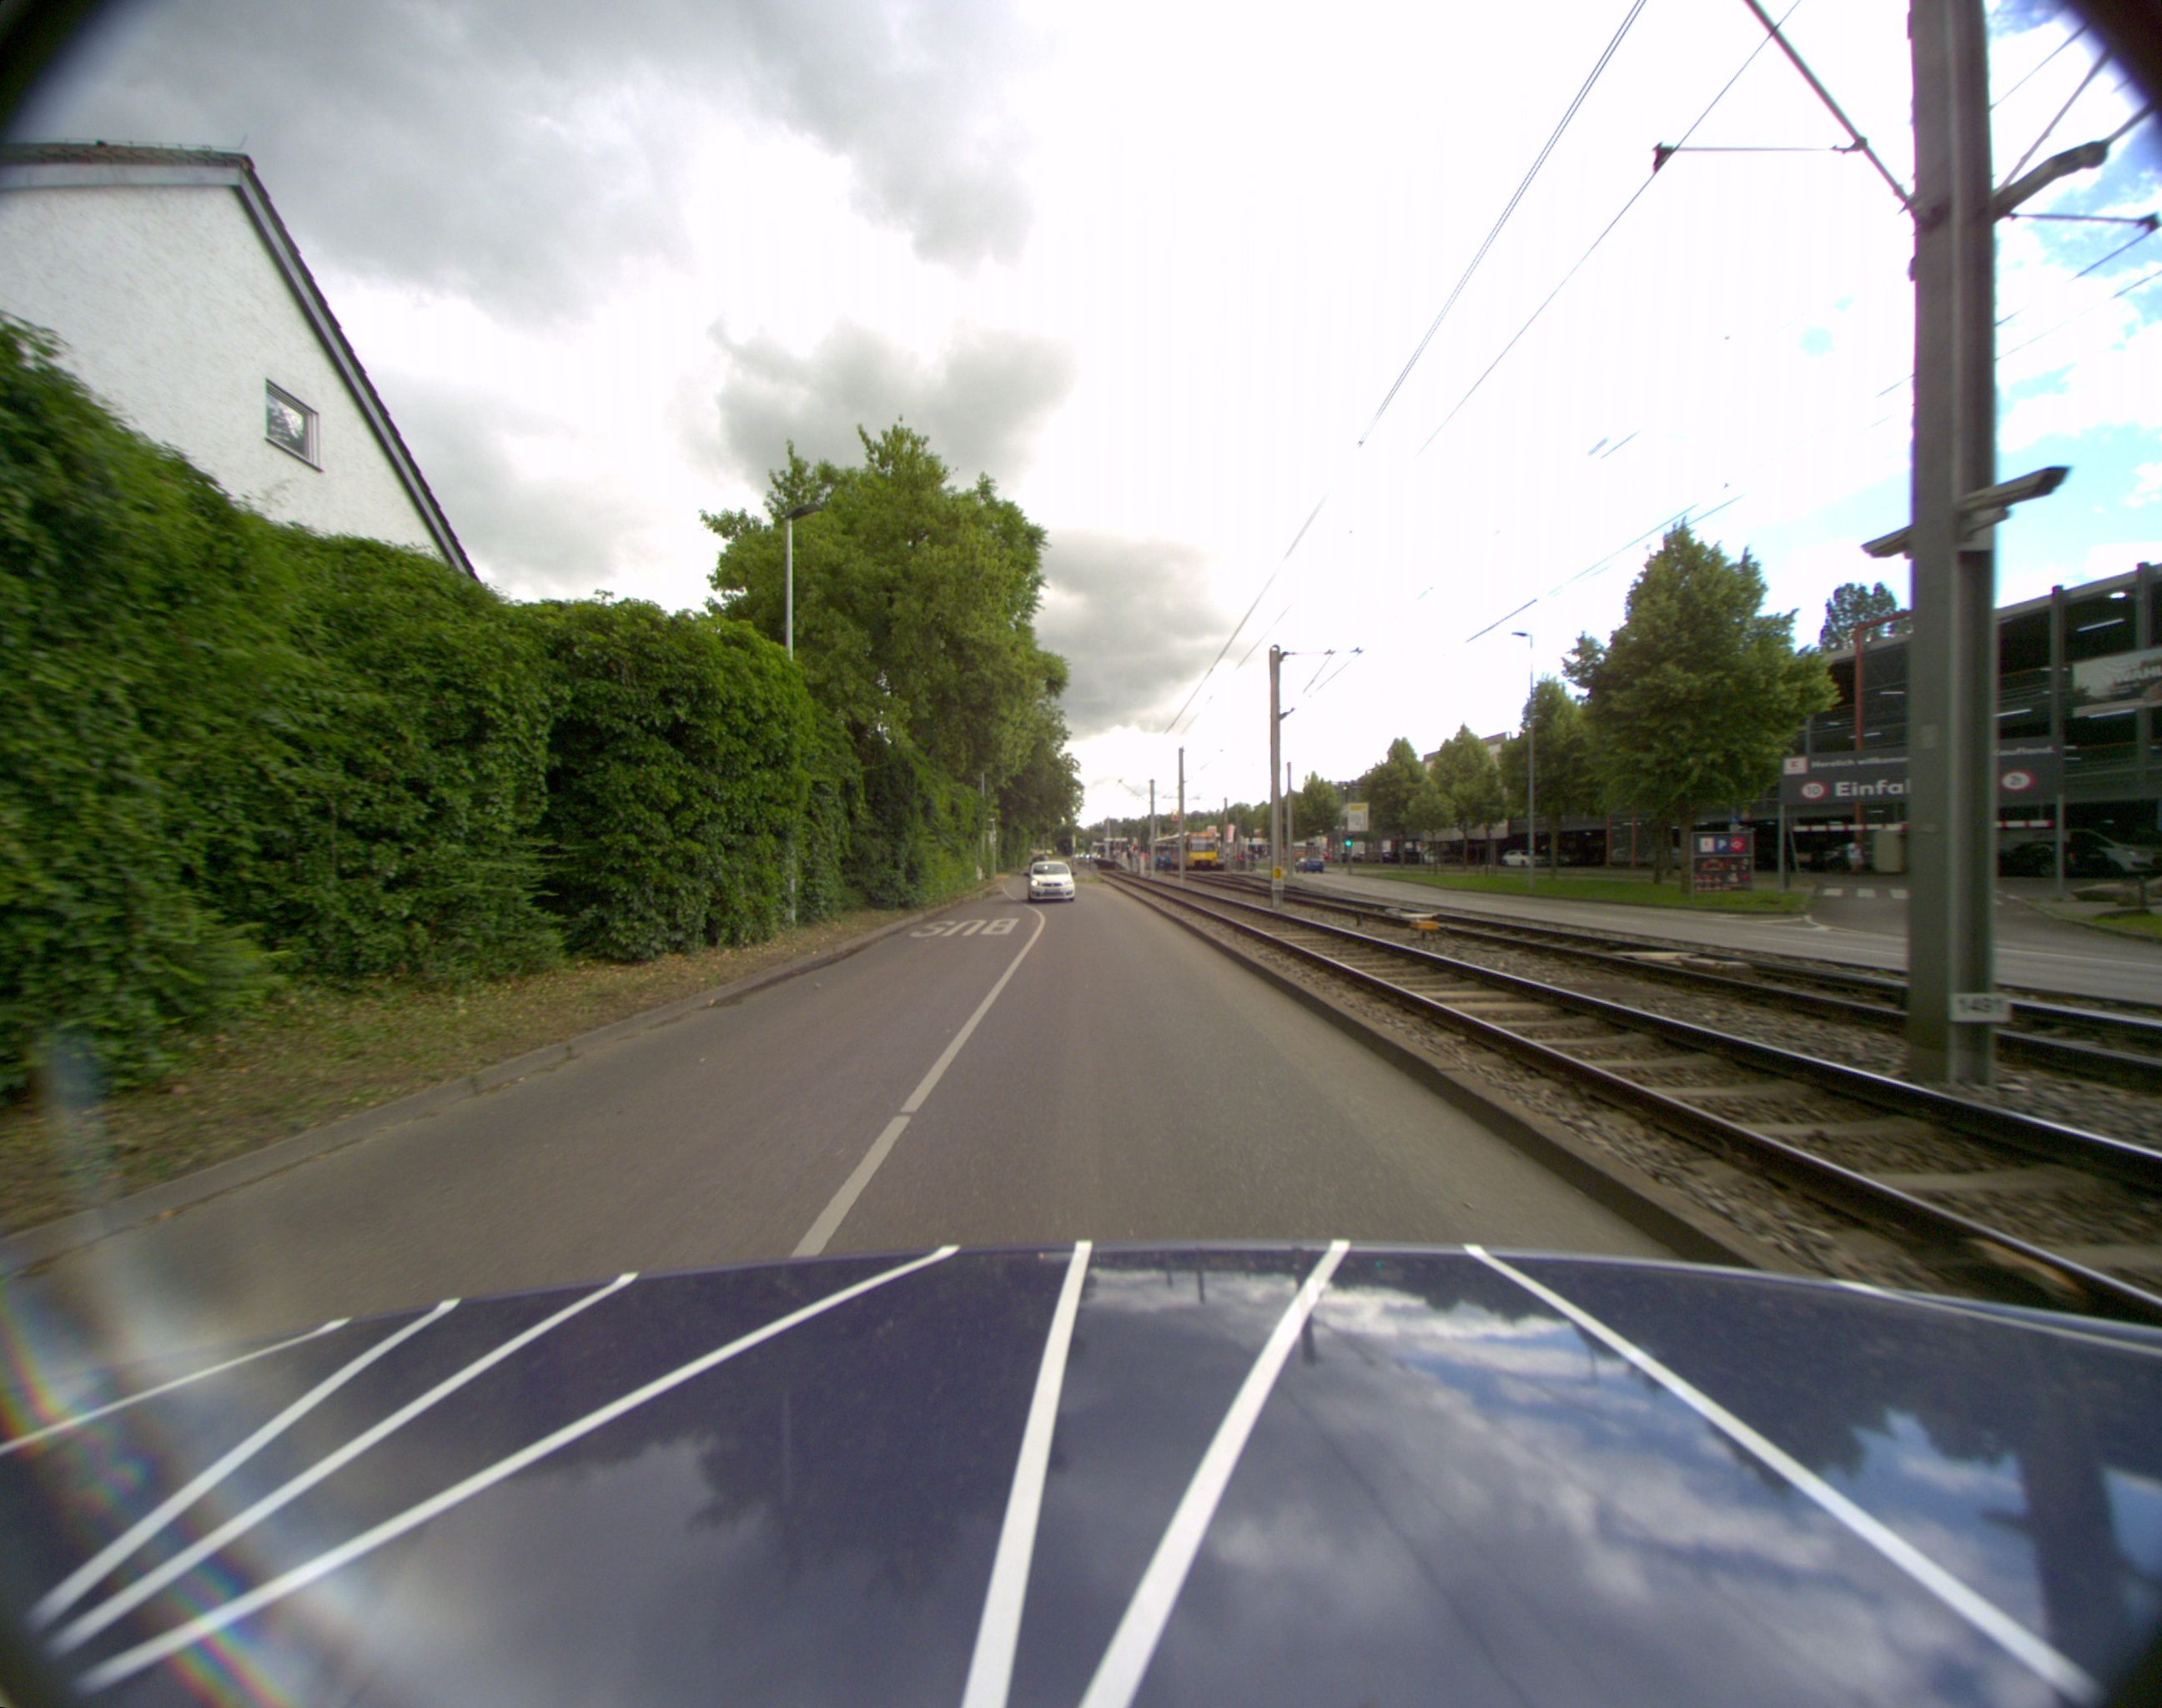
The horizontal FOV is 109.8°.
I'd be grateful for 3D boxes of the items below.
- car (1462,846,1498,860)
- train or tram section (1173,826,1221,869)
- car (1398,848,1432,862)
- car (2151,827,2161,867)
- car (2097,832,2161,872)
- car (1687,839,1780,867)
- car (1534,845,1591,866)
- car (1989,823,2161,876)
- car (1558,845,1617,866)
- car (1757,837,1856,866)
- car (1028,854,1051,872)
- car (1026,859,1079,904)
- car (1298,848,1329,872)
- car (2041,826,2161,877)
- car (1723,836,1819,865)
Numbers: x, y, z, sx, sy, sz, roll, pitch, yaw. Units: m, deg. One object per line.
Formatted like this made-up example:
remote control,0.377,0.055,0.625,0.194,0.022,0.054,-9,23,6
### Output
car,48.016,-0.128,91.538,1.999,1.618,4.405,-1,0,-1
train or tram section,11.169,-0.596,74.671,2.778,3.753,13.787,-1,0,1
car,40.072,0.077,91.244,1.999,1.618,4.405,-1,0,-1
car,47.962,-0.319,31.137,1.999,1.708,4.405,-1,0,-1
car,45.480,-0.108,31.052,1.999,1.640,4.405,-1,0,-1
car,40.500,-0.049,47.330,1.999,1.618,4.405,-1,0,-1
car,40.536,0.139,64.071,1.999,1.689,4.405,-1,0,-1
car,40.561,-0.181,30.887,1.999,2.002,4.405,-1,0,-1
car,42.597,0.109,64.034,1.999,1.689,4.405,-1,0,-1
car,45.548,-0.173,47.836,1.999,1.689,4.405,-1,0,-1
car,-3.908,0.806,71.948,1.714,1.586,4.001,-1,0,3
car,-1.075,0.974,28.598,1.765,1.469,4.030,-2,0,-2
car,20.355,0.511,66.534,1.997,2.002,4.002,-1,0,8
car,42.774,-0.120,30.847,1.999,2.002,4.405,-1,0,-1
car,43.125,-0.194,47.631,1.999,1.689,4.405,-1,0,-1
